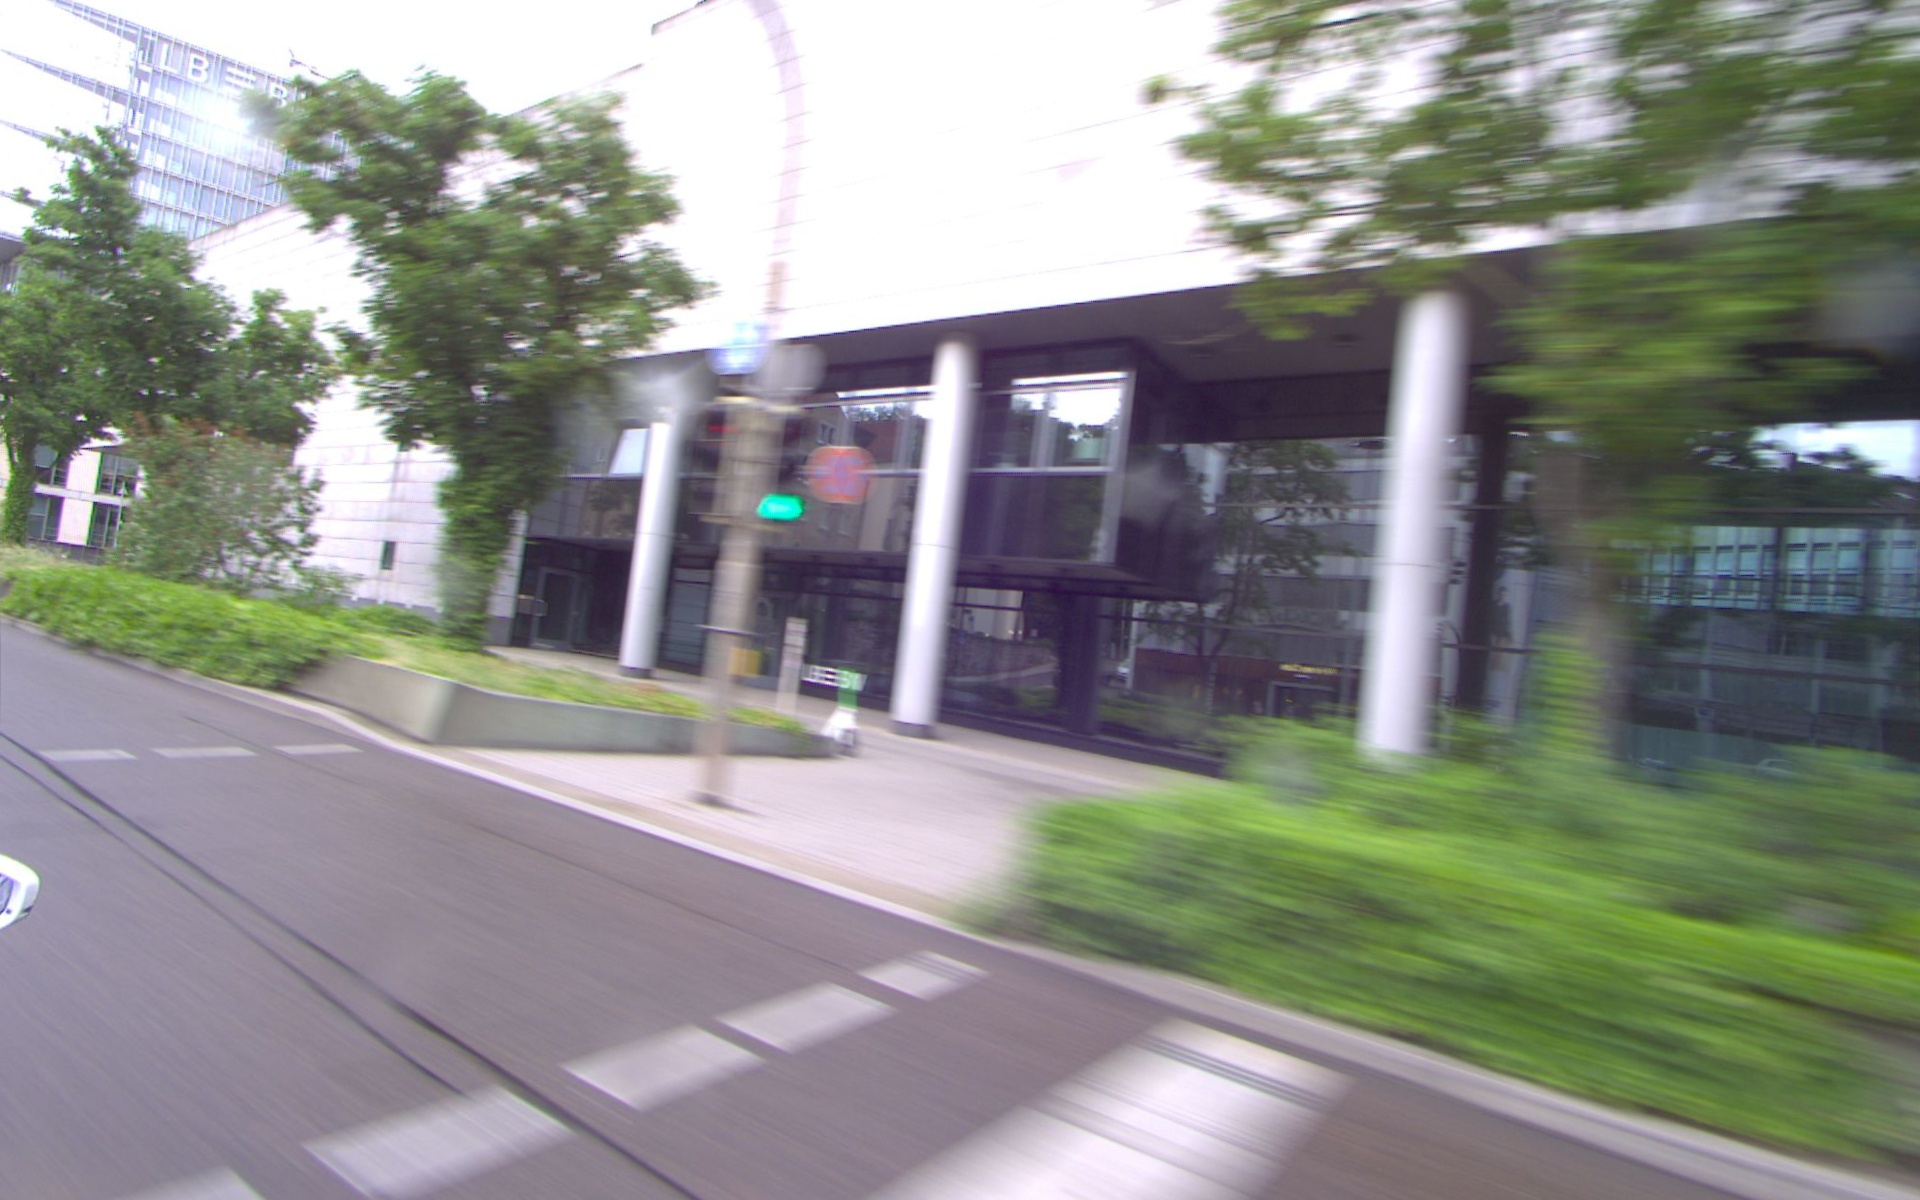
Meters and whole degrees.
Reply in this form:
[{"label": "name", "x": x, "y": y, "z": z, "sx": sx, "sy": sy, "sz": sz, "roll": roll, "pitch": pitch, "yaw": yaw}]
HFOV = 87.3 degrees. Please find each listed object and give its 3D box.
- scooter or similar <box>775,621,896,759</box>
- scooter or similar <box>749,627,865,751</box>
[{"label": "scooter or similar", "x": -1.514, "y": 1.133, "z": 12.392, "sx": 0.495, "sy": 1.547, "sz": 1.325, "roll": 7, "pitch": -3, "yaw": 37}, {"label": "scooter or similar", "x": -1.902, "y": 1.147, "z": 12.683, "sx": 0.452, "sy": 1.424, "sz": 1.325, "roll": 7, "pitch": -3, "yaw": 37}]
